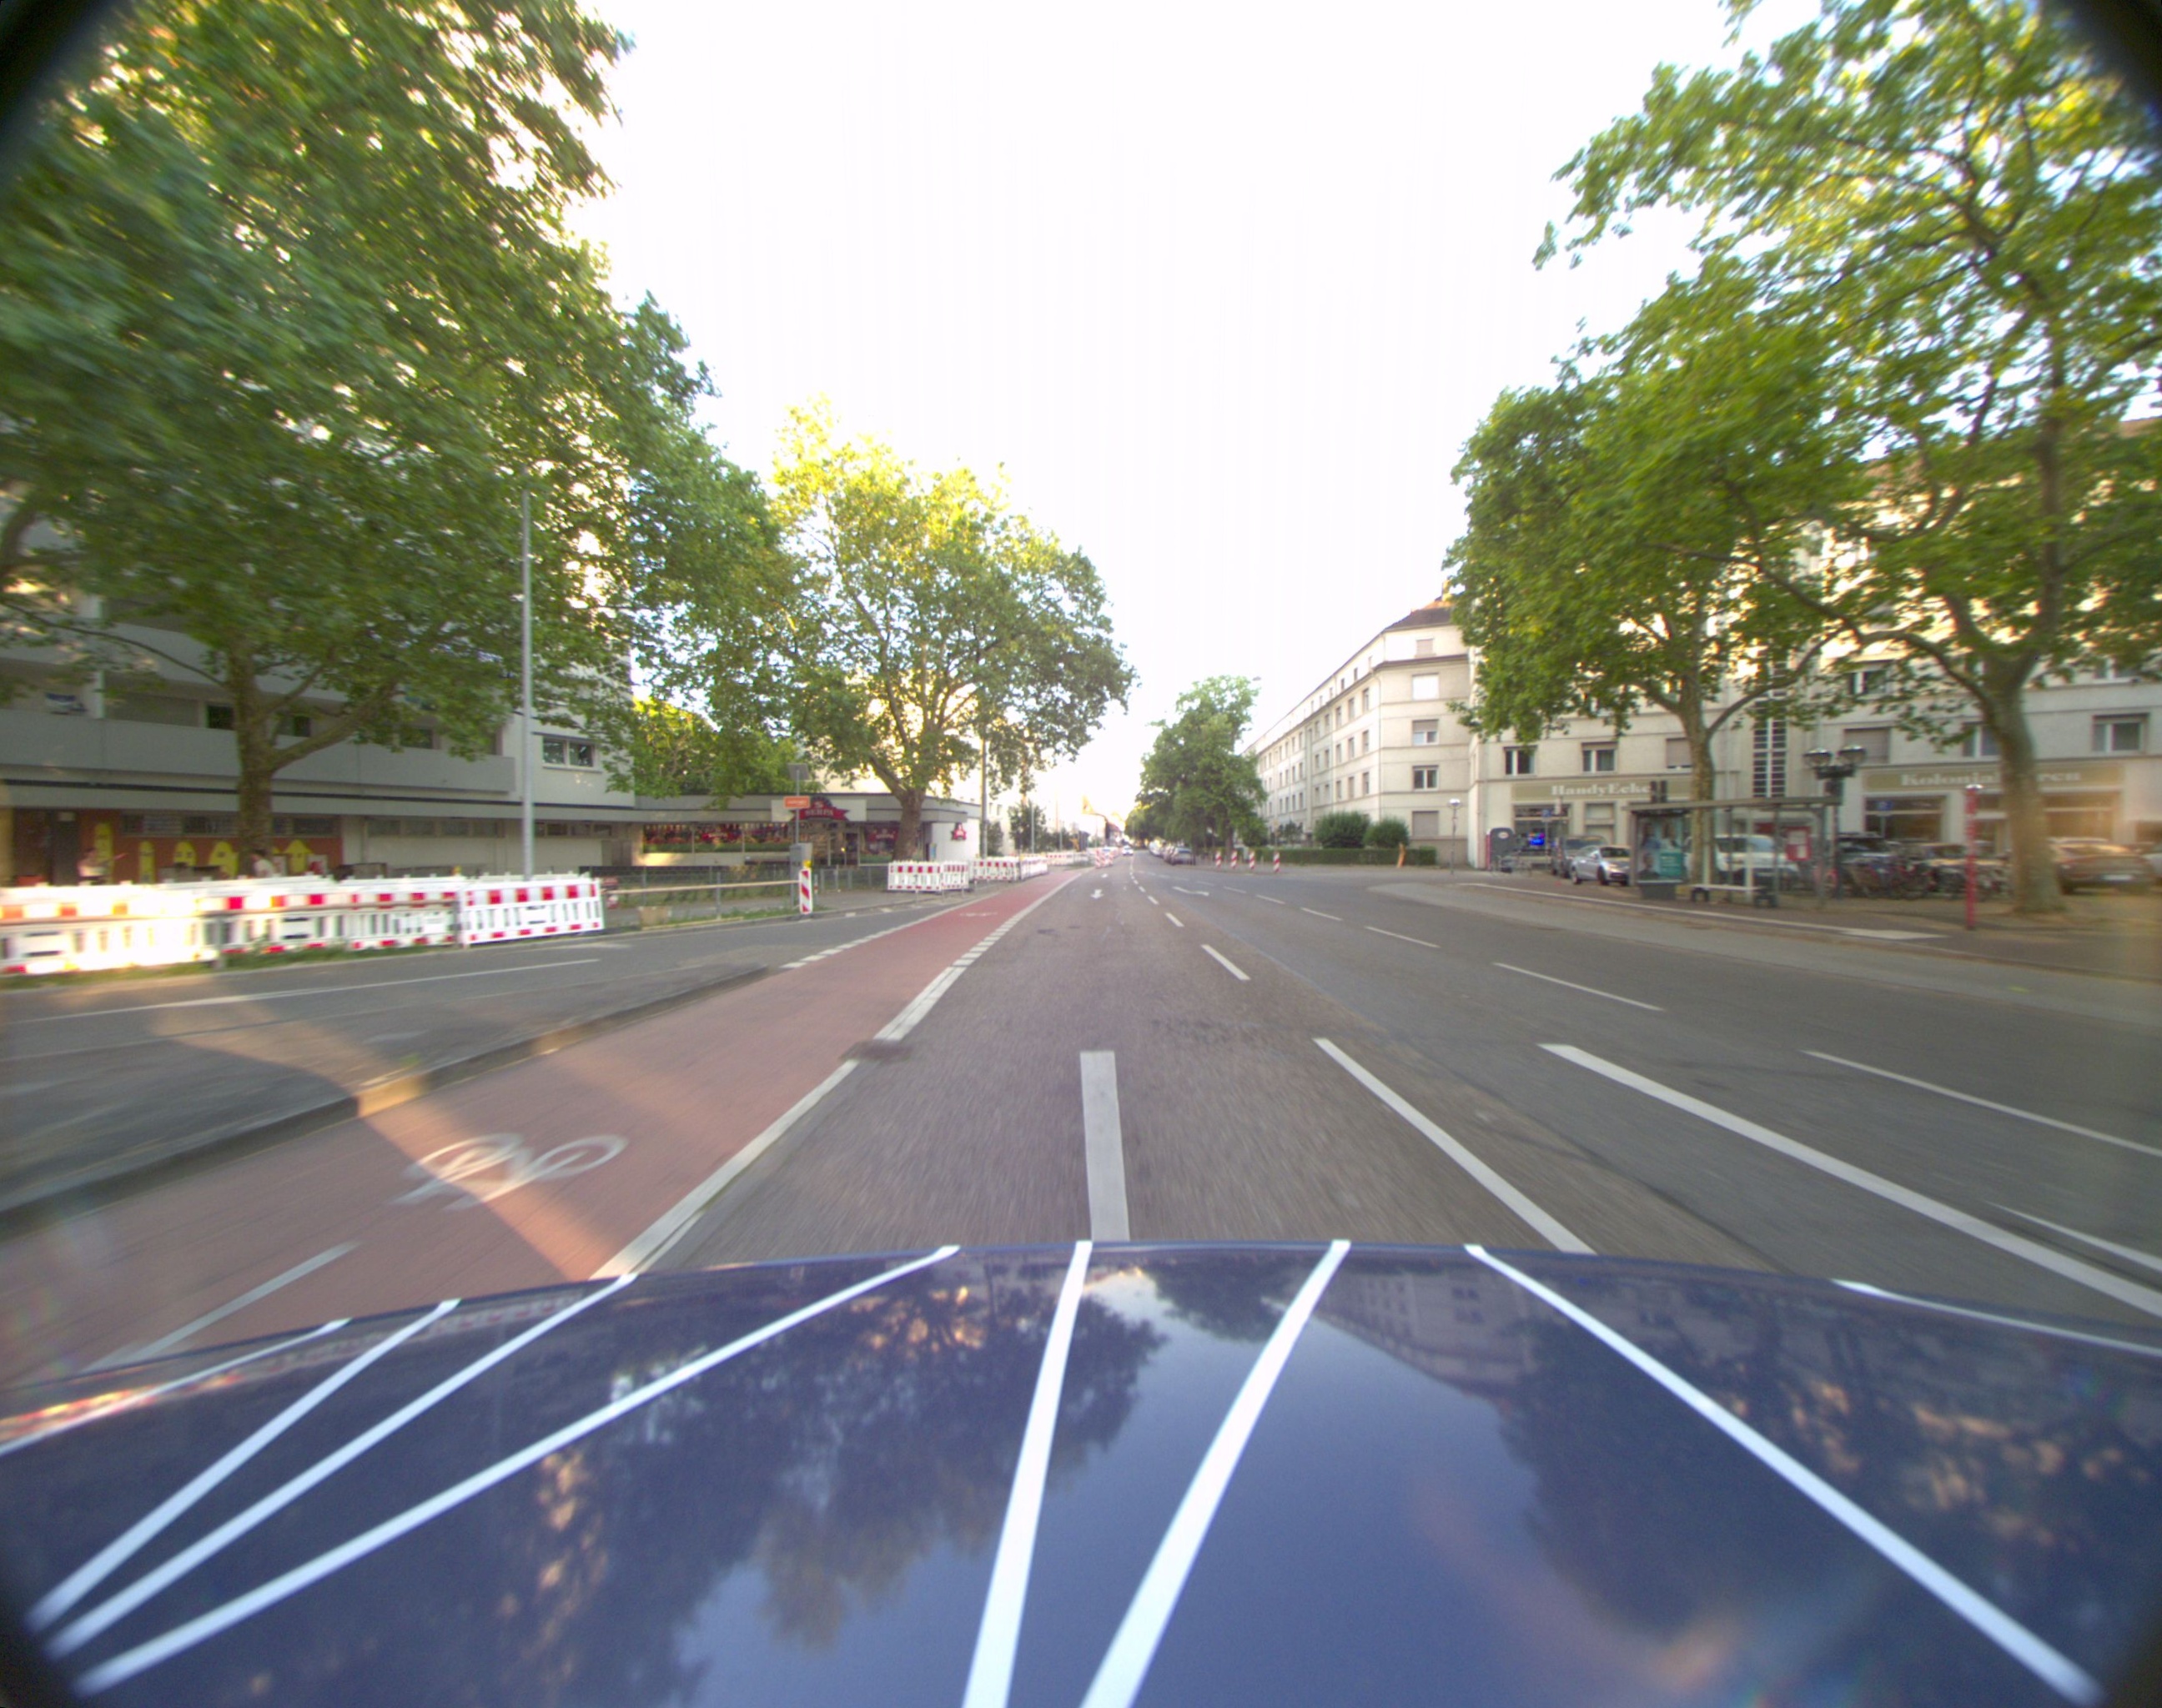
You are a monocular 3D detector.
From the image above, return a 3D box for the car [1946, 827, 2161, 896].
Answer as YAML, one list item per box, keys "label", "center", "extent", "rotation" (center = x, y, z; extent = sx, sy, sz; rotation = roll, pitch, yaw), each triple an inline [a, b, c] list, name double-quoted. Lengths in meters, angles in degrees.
- label: "car"
  center: [27.809, 0.192, 21.827]
  extent: [1.995, 1.771, 4.648]
  rotation: [1, 0, 22]

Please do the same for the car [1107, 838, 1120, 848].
- label: "car"
  center: [5.698, -1.933, 133.466]
  extent: [1.892, 1.651, 4.260]
  rotation: [-1, 2, 6]

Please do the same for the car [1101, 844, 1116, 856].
- label: "car"
  center: [4.166, -0.587, 112.698]
  extent: [1.892, 1.591, 4.260]
  rotation: [-1, 2, 6]

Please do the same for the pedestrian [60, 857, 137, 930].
- label: "pedestrian"
  center: [-22.148, 0.871, 17.141]
  extent: [0.641, 1.580, 0.746]
  rotation: [-2, 2, -5]

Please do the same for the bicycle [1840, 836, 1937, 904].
- label: "bicycle"
  center: [20.937, 0.370, 19.787]
  extent: [0.807, 1.605, 2.749]
  rotation: [-1, 2, 26]

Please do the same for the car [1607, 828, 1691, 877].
- label: "car"
  center: [25.419, -0.134, 34.172]
  extent: [1.995, 1.945, 4.646]
  rotation: [1, 3, 24]

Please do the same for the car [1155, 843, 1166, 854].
- label: "car"
  center: [13.581, -0.968, 129.433]
  extent: [1.892, 1.591, 4.260]
  rotation: [-1, 2, 6]

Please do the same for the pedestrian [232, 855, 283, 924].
- label: "pedestrian"
  center: [-19.697, 0.826, 18.197]
  extent: [0.642, 1.580, 0.744]
  rotation: [-3, 3, -38]

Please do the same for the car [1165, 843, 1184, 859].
- label: "car"
  center: [9.955, -0.328, 81.067]
  extent: [1.892, 1.591, 4.260]
  rotation: [-1, 2, 6]

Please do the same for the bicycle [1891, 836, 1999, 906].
- label: "bicycle"
  center: [21.949, 0.381, 19.388]
  extent: [0.807, 1.605, 2.749]
  rotation: [-1, 2, 26]

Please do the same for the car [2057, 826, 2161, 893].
- label: "car"
  center: [29.976, 0.174, 20.730]
  extent: [1.995, 1.771, 4.648]
  rotation: [1, 0, 22]

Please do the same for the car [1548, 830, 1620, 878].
- label: "car"
  center: [23.073, -0.084, 35.019]
  extent: [1.995, 1.945, 4.646]
  rotation: [1, 3, 24]

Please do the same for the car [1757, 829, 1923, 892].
- label: "car"
  center: [23.526, 0.189, 23.824]
  extent: [1.995, 1.771, 4.648]
  rotation: [1, 0, 22]

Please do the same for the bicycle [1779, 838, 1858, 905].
- label: "bicycle"
  center: [19.451, 0.401, 20.111]
  extent: [0.690, 1.605, 2.749]
  rotation: [-1, 2, 26]

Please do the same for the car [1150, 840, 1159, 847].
- label: "car"
  center: [17.201, -2.502, 177.756]
  extent: [1.892, 1.591, 4.260]
  rotation: [-1, 2, 6]

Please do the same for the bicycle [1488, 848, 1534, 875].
- label: "bicycle"
  center: [19.858, 0.329, 35.116]
  extent: [1.802, 1.199, 0.648]
  rotation: [0, 2, 34]

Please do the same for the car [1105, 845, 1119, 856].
- label: "car"
  center: [5.105, -0.555, 124.975]
  extent: [1.892, 1.726, 4.260]
  rotation: [-1, 2, 6]

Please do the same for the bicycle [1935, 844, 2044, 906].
- label: "bicycle"
  center: [22.813, 0.489, 19.169]
  extent: [0.690, 1.376, 2.749]
  rotation: [-1, 2, 26]

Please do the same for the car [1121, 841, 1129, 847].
- label: "car"
  center: [12.073, -2.827, 208.022]
  extent: [1.892, 1.591, 4.260]
  rotation: [-1, 2, 6]

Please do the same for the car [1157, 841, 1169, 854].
- label: "car"
  center: [12.910, -1.019, 119.767]
  extent: [1.892, 1.855, 4.260]
  rotation: [-1, 2, 6]

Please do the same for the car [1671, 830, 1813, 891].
- label: "car"
  center: [21.064, 0.198, 24.480]
  extent: [1.995, 1.771, 4.648]
  rotation: [1, 0, 22]

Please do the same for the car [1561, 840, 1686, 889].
- label: "car"
  center: [18.495, 0.326, 26.190]
  extent: [1.996, 1.495, 4.646]
  rotation: [1, 0, 16]

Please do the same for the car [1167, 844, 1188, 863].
- label: "car"
  center: [9.408, -0.055, 74.342]
  extent: [1.892, 1.681, 4.260]
  rotation: [-1, 2, 6]

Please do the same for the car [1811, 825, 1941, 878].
- label: "car"
  center: [32.314, -0.184, 31.076]
  extent: [1.995, 1.945, 4.646]
  rotation: [1, 3, 24]

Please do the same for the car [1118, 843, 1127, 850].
- label: "car"
  center: [10.699, -1.884, 196.439]
  extent: [1.892, 1.591, 4.260]
  rotation: [-1, 2, 6]

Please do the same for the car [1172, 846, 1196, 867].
- label: "car"
  center: [8.857, 0.190, 65.753]
  extent: [1.892, 1.591, 4.001]
  rotation: [-1, 2, 6]

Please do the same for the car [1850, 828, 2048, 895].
- label: "car"
  center: [25.632, 0.206, 22.730]
  extent: [1.995, 1.771, 4.648]
  rotation: [1, 0, 22]

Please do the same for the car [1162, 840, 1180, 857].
- label: "car"
  center: [10.292, -0.610, 87.006]
  extent: [1.892, 1.764, 4.260]
  rotation: [-1, 2, 6]

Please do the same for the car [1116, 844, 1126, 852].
- label: "car"
  center: [8.838, -1.333, 167.856]
  extent: [1.892, 1.591, 4.260]
  rotation: [-1, 2, 6]
